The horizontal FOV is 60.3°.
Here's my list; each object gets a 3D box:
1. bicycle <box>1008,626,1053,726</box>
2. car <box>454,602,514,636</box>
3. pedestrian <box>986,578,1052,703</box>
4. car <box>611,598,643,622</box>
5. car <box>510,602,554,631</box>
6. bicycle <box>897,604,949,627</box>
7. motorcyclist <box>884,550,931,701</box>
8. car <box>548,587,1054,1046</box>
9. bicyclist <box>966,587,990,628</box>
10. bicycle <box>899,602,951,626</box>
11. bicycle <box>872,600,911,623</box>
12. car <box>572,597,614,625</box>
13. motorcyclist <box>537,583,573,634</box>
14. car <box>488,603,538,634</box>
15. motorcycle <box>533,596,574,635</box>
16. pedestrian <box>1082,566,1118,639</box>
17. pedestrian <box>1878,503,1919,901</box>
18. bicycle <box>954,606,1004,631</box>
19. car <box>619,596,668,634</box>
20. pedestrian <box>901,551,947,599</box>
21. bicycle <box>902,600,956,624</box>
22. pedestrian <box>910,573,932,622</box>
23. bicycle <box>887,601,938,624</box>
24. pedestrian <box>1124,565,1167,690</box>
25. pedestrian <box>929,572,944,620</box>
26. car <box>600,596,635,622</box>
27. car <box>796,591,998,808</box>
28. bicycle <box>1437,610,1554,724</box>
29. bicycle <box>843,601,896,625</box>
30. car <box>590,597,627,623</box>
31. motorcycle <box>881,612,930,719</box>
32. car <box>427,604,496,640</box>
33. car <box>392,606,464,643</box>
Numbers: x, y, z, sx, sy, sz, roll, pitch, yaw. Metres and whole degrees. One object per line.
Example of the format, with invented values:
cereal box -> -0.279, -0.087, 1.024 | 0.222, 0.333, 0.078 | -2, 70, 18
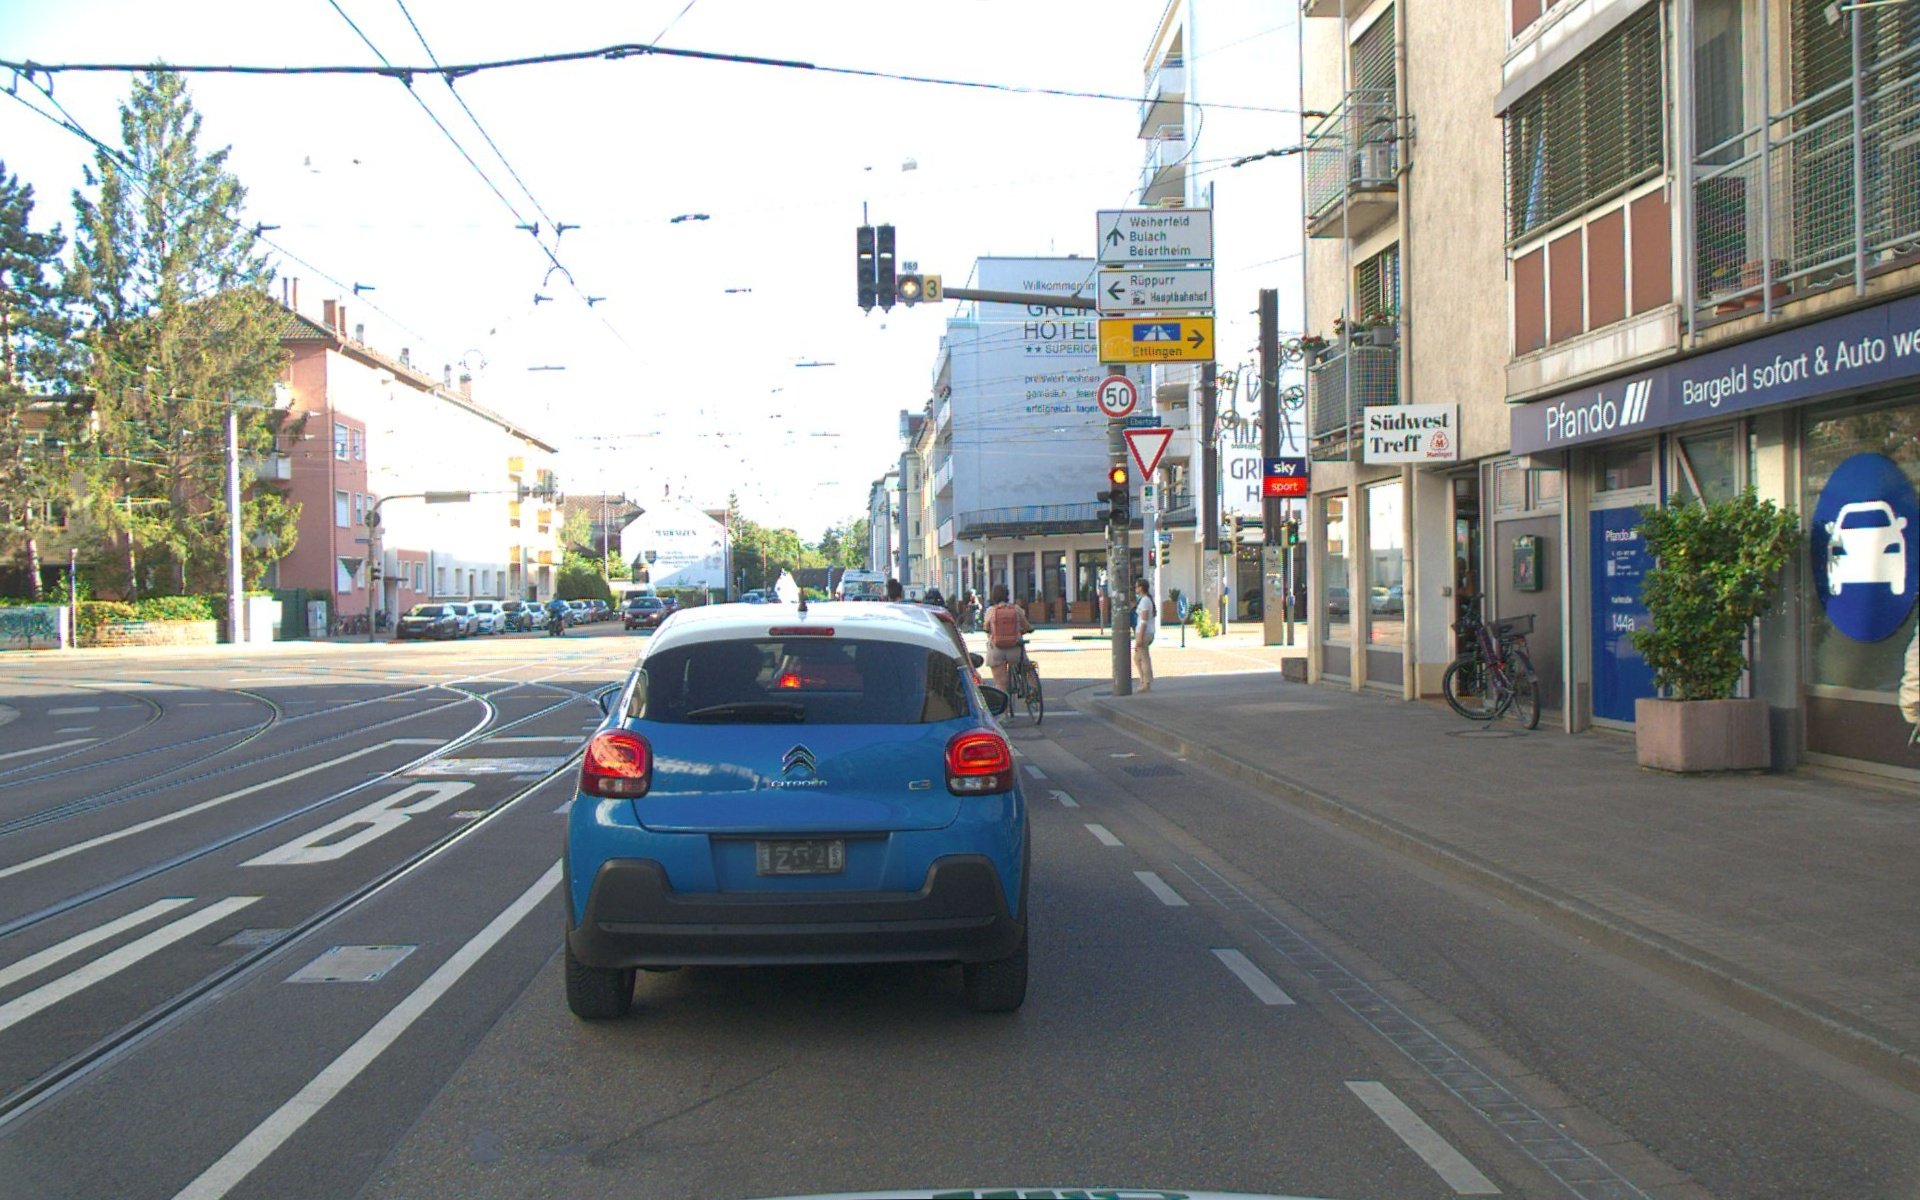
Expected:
bicycle -> 0.857, 0.910, 20.479 | 0.419, 1.142, 1.998 | 1, 0, -1
car -> -22.612, 0.877, 78.708 | 1.751, 1.537, 4.148 | 1, 0, -2
pedestrian -> 0.716, 0.488, 20.243 | 0.761, 1.486, 0.681 | 1, -1, -1
car -> -24.333, 0.700, 120.923 | 1.809, 1.716, 3.871 | 1, 0, -4
car -> -23.739, 0.911, 91.784 | 1.699, 1.524, 3.996 | 1, 0, -5
bicycle -> -1.505, 0.644, 67.523 | 2.093, 0.917, 0.366 | 1, -1, -10
motorcyclist -> -0.613, 0.293, 19.597 | 0.516, 1.746, 0.717 | 1, -1, -1
car -> -0.539, 0.714, 7.150 | 1.620, 1.469, 3.522 | 1, 0, -1
bicyclist -> 0.679, 0.266, 61.590 | 0.730, 1.503, 0.563 | 1, -1, 18
bicycle -> -1.423, 0.570, 67.077 | 2.093, 0.917, 0.366 | 1, -1, -10
bicycle -> -2.898, 0.479, 69.414 | 1.751, 0.917, 0.365 | 1, -1, 34
car -> -23.408, 0.688, 105.564 | 1.944, 1.716, 3.997 | 1, 0, -4
motorcyclist -> -16.358, 0.332, 66.891 | 1.162, 2.049, 1.274 | -1, 0, -4
car -> -23.137, 0.932, 85.735 | 1.750, 1.524, 3.997 | 1, 0, -4
motorcycle -> -16.352, 0.607, 66.598 | 0.905, 1.512, 3.723 | 1, 0, -4
pedestrian -> 3.965, 0.073, 46.936 | 0.907, 2.049, 0.759 | 1, -1, -1
pedestrian -> 4.318, 0.419, 6.662 | 0.808, 1.620, 0.751 | 1, -1, -1
bicycle -> 0.701, 0.686, 61.516 | 1.814, 0.919, 0.350 | 1, -1, 19
car -> -14.559, 0.685, 76.190 | 1.740, 1.695, 3.853 | 1, 0, -4
pedestrian -> -1.602, -1.082, 73.515 | 1.953, 2.049, 3.999 | 1, 0, -1
bicycle -> -1.238, 0.480, 65.856 | 2.093, 0.917, 0.366 | 1, -1, -10
pedestrian -> -1.628, -0.108, 69.099 | 0.625, 2.049, 0.715 | 1, -1, -37
bicycle -> -1.959, 0.503, 68.246 | 2.093, 0.917, 0.366 | 1, -1, -10
pedestrian -> 2.723, 0.399, 24.296 | 0.507, 1.814, 0.595 | 1, -1, -3
pedestrian -> -1.005, -0.165, 70.220 | 0.565, 2.049, 0.625 | 1, -1, -3
car -> -24.051, 0.619, 116.283 | 1.797, 1.716, 3.997 | 1, 0, -4
car -> -0.467, 0.709, 13.096 | 1.395, 1.493, 2.923 | -1, 0, -1
bicycle -> 5.084, 0.614, 15.801 | 0.531, 1.016, 1.705 | 1, 0, -1
bicycle -> -3.610, 0.528, 66.208 | 2.093, 0.917, 0.366 | 1, -1, -10
car -> -23.564, 0.673, 110.949 | 1.845, 1.716, 3.997 | 1, 0, -4
motorcycle -> -0.621, 0.735, 19.407 | 0.515, 1.159, 2.289 | 1, 0, -1
car -> -22.305, 0.953, 74.160 | 1.778, 1.524, 4.299 | 1, 0, -1
car -> -21.990, 1.005, 68.507 | 1.757, 1.446, 3.994 | 1, 0, -2
